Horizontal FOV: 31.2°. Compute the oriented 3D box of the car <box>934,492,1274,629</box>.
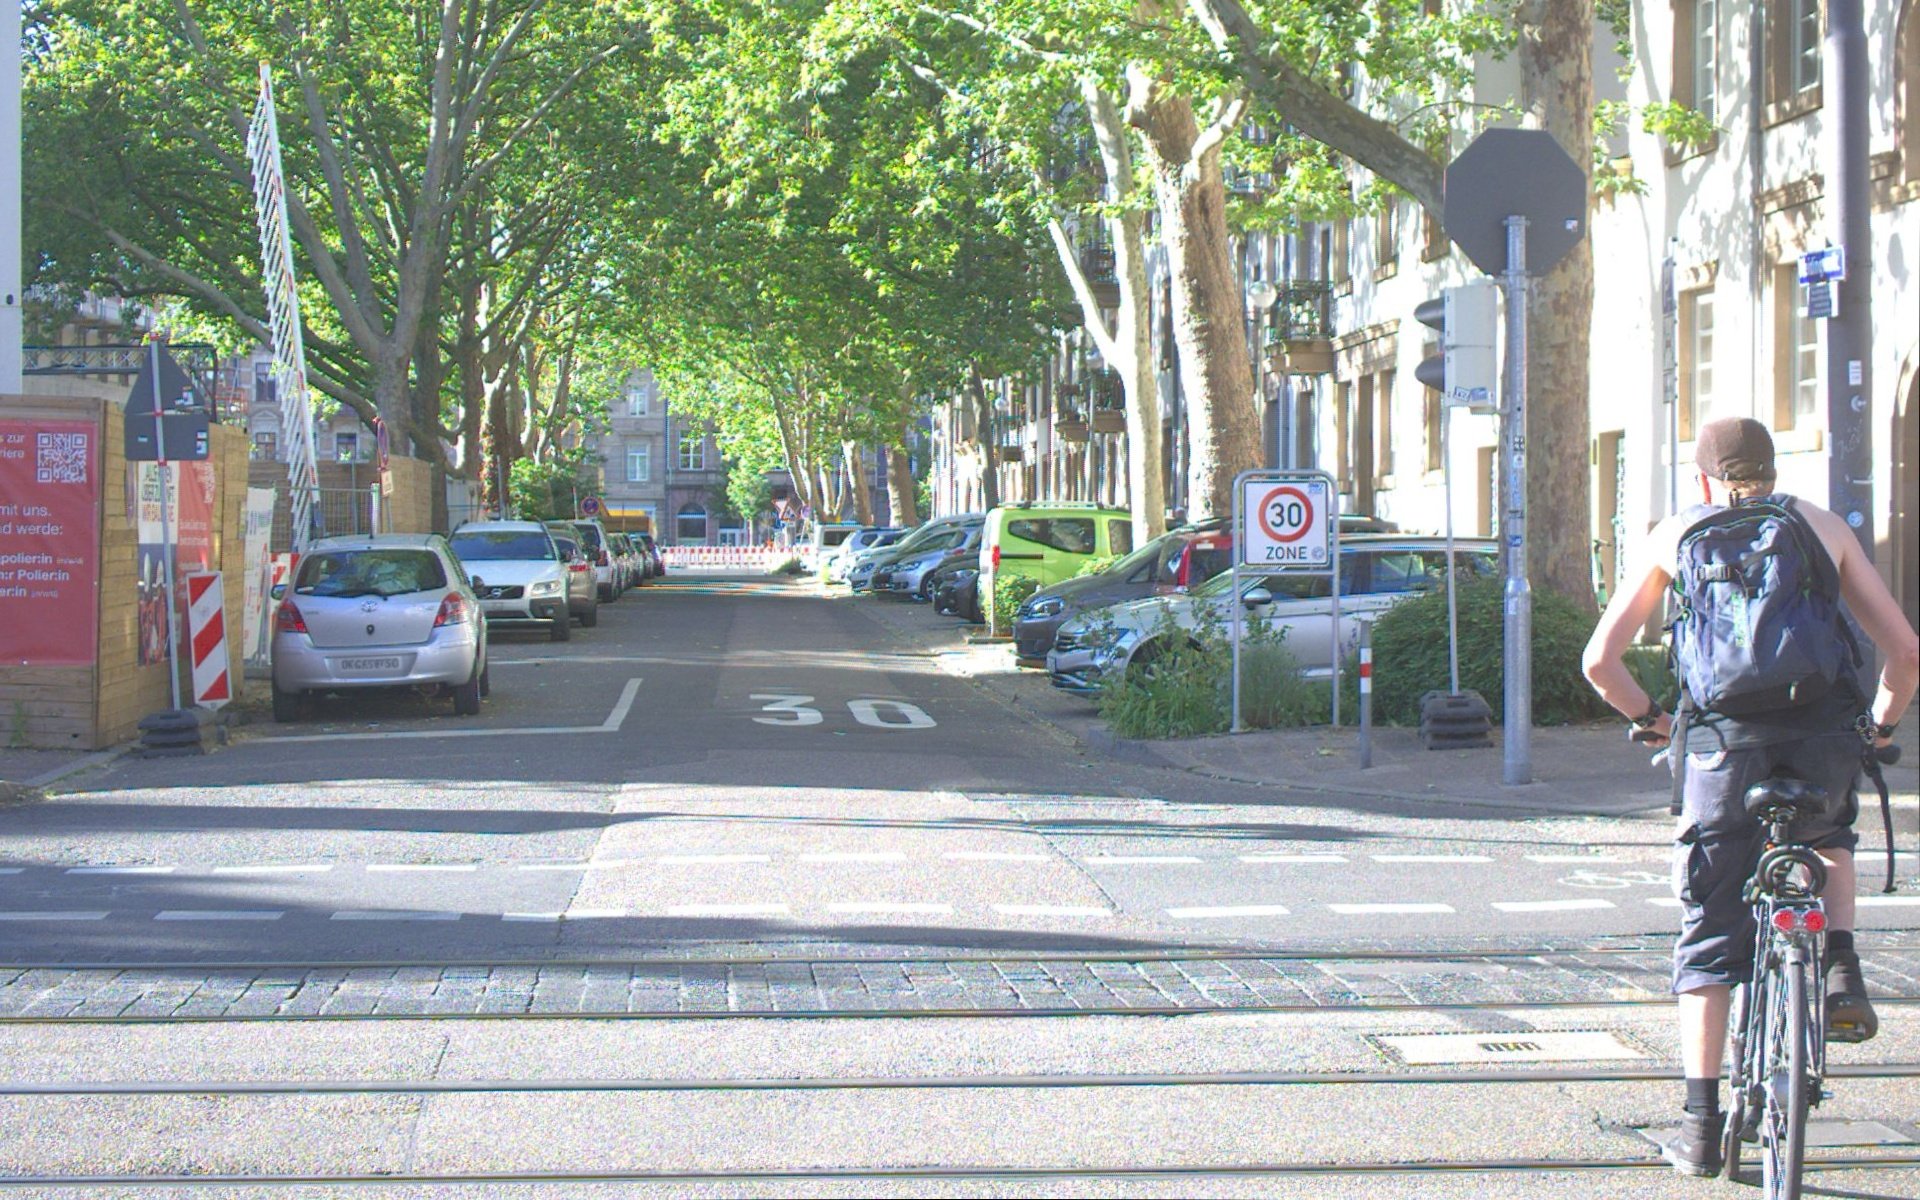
[{"bbox_3d":[1.940,-0.553,47.177,4.461,1.830,1.729,0,1,-5],"label":"car"}]

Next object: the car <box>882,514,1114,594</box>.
[{"bbox_3d":[0.732,-0.916,68.180,4.461,1.565,1.729,0,1,-5],"label":"car"}]

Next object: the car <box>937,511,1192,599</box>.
[{"bbox_3d":[1.874,-0.830,62.562,4.461,1.565,1.729,0,1,-5],"label":"car"}]

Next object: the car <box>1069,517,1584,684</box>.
[{"bbox_3d":[3.331,-0.013,31.723,4.461,1.495,1.729,0,1,-5],"label":"car"}]

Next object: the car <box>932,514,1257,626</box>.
[{"bbox_3d":[1.888,-0.442,49.197,4.461,1.565,1.729,0,1,-5],"label":"car"}]

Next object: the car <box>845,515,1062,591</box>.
[{"bbox_3d":[-0.157,-1.005,72.900,4.461,1.565,1.729,0,1,-5],"label":"car"}]

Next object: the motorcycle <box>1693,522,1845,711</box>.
[{"bbox_3d":[5.927,0.098,25.263,0.513,1.328,1.764,0,1,-6],"label":"motorcycle"}]

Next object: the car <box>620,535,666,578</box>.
[{"bbox_3d":[-11.881,-1.640,128.596,1.665,1.557,4.220,0,1,-6],"label":"car"}]

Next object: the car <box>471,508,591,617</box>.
[{"bbox_3d":[-6.367,-0.586,51.317,1.665,1.557,4.520,0,1,-6],"label":"car"}]

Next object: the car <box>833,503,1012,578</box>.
[{"bbox_3d":[-0.973,-1.526,88.153,4.461,1.891,1.729,0,1,-5],"label":"car"}]

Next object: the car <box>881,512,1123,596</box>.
[{"bbox_3d":[0.779,-0.879,65.702,4.461,1.565,1.729,0,1,-5],"label":"car"}]

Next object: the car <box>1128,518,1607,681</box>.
[{"bbox_3d":[3.999,-0.019,34.141,4.461,1.565,1.729,0,1,-5],"label":"car"}]

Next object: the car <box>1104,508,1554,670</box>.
[{"bbox_3d":[3.841,-0.129,36.221,4.461,1.665,1.729,0,1,-5],"label":"car"}]

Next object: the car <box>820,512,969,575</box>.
[{"bbox_3d":[-2.038,-1.746,105.501,4.461,1.891,1.729,0,1,-5],"label":"car"}]

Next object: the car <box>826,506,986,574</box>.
[{"bbox_3d":[-1.554,-1.712,98.083,4.461,1.891,1.729,0,1,-5],"label":"car"}]

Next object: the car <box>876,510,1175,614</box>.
[{"bbox_3d":[0.982,-0.595,53.086,4.461,1.565,1.729,0,1,-5],"label":"car"}]

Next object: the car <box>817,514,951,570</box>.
[{"bbox_3d":[-2.609,-1.991,117.665,4.461,1.891,1.729,0,1,-5],"label":"car"}]

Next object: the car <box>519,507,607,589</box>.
[{"bbox_3d":[-7.809,-1.040,67.920,1.665,1.557,4.617,0,1,-6],"label":"car"}]

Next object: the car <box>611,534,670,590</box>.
[{"bbox_3d":[-9.217,-1.114,98.996,1.665,1.557,4.220,0,1,-6],"label":"car"}]

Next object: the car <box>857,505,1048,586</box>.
[{"bbox_3d":[-0.196,-1.316,82.555,4.461,1.891,1.729,0,1,-5],"label":"car"}]

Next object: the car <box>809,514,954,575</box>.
[{"bbox_3d":[-2.498,-1.768,108.525,4.461,1.891,1.729,0,1,-5],"label":"car"}]

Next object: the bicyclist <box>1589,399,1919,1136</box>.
[{"bbox_3d":[1.740,0.338,7.485,0.676,1.508,0.668,2,1,11],"label":"bicyclist"}]

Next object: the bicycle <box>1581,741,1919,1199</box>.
[{"bbox_3d":[1.729,0.880,7.523,0.690,1.013,1.906,2,1,11],"label":"bicycle"}]

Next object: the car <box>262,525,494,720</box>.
[{"bbox_3d":[-4.933,0.133,29.531,1.643,1.489,4.001,-2,2,-6],"label":"car"}]

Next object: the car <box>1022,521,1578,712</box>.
[{"bbox_3d":[2.834,0.117,29.231,4.461,1.565,1.729,0,1,-5],"label":"car"}]

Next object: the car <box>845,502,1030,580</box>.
[{"bbox_3d":[-0.573,-1.469,85.303,4.461,1.891,1.729,0,1,-5],"label":"car"}]

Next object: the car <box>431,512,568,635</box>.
[{"bbox_3d":[-6.070,-0.383,45.619,1.665,1.557,4.001,0,1,-6],"label":"car"}]

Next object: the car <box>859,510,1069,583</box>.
[{"bbox_3d":[0.059,-1.171,75.236,4.461,1.565,1.729,0,1,-5],"label":"car"}]
